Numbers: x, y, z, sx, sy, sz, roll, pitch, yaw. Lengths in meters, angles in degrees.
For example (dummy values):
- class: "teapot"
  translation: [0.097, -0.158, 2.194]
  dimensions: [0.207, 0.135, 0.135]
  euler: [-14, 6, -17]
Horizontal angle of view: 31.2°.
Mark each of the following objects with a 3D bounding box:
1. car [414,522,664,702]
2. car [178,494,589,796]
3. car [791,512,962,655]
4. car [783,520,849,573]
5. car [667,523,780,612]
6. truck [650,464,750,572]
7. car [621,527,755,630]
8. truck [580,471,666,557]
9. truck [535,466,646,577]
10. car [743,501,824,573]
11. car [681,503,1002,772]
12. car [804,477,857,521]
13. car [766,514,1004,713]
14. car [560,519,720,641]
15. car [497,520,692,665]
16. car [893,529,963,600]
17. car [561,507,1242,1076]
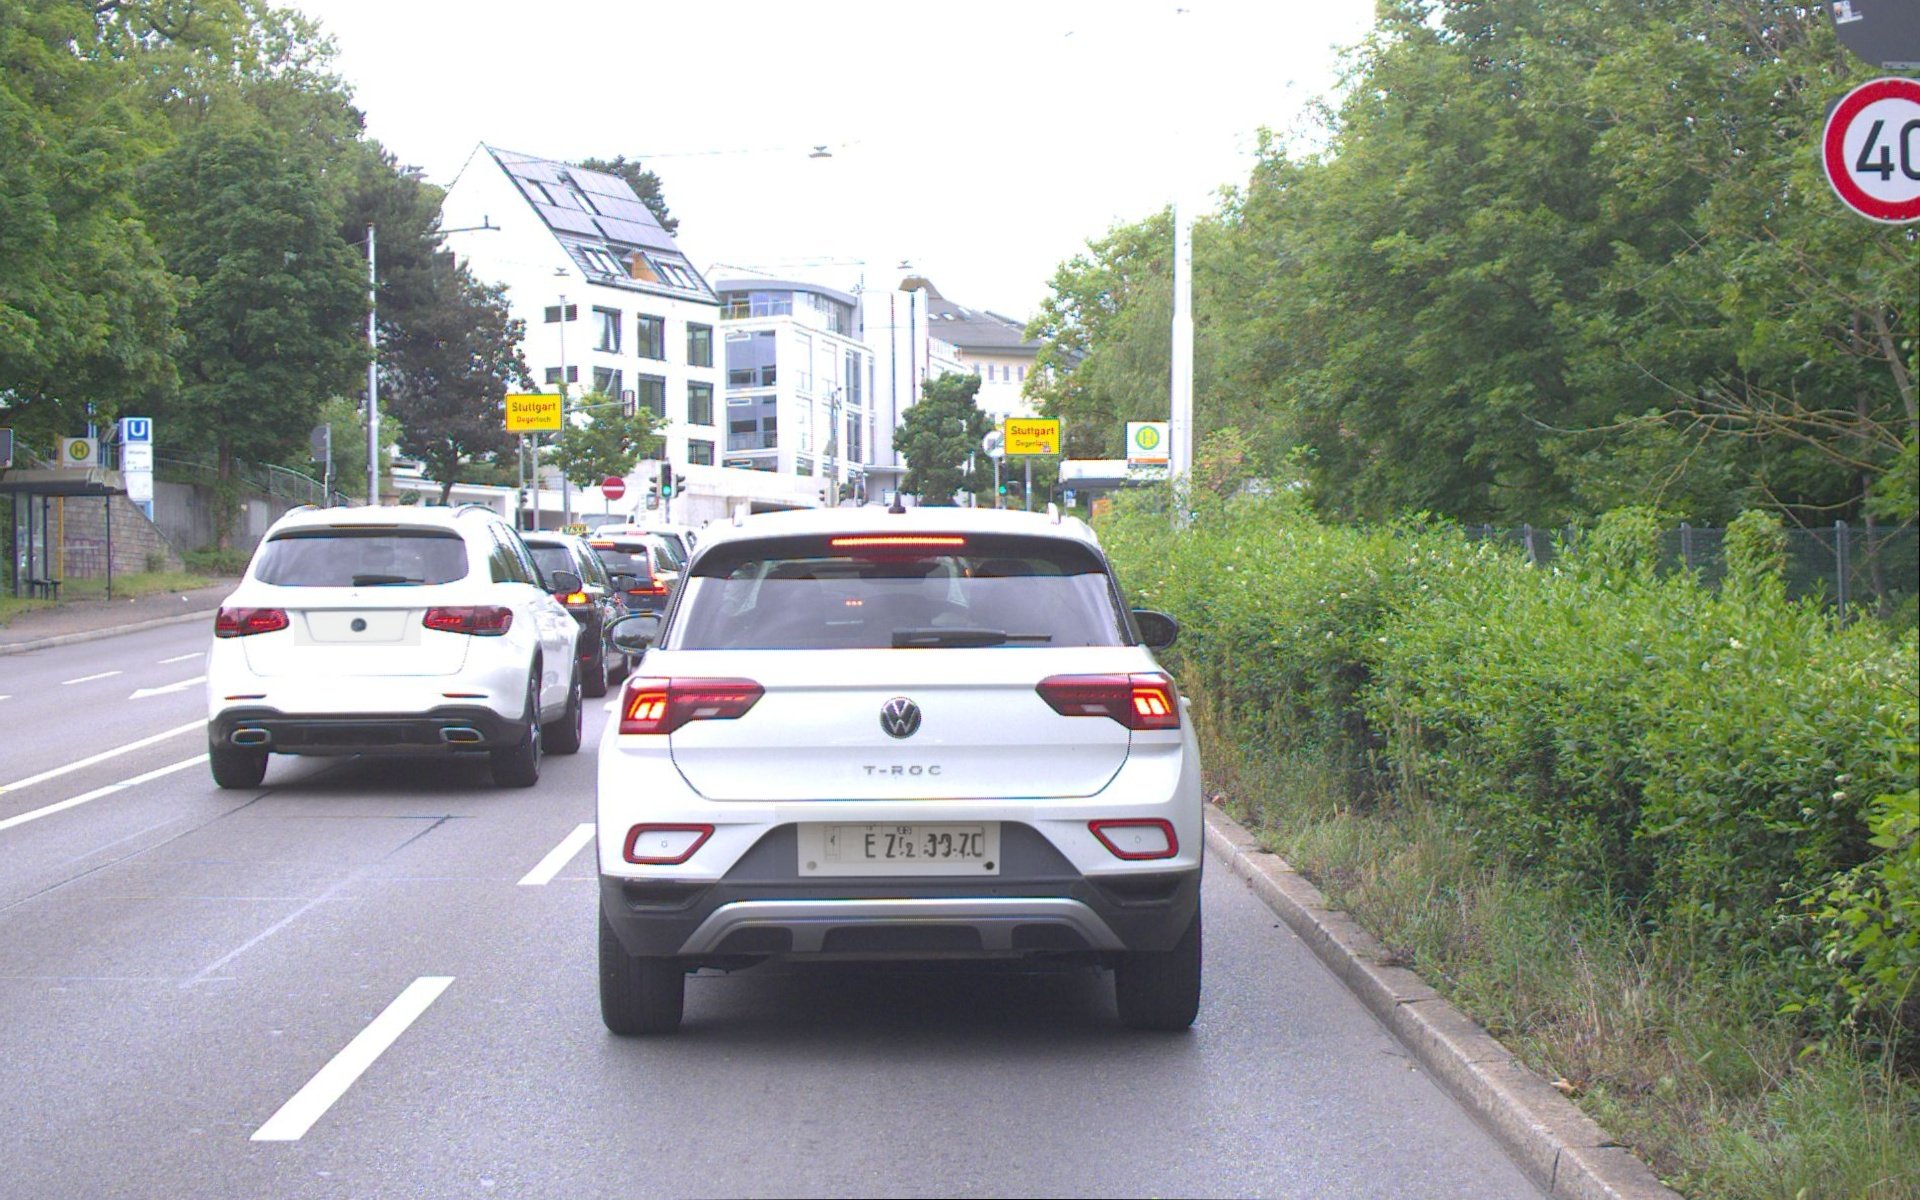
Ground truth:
- class: "car"
  translation: [-3.749, 0.060, 31.200]
  dimensions: [1.829, 1.492, 4.000]
  euler: [-1, 1, -1]
- class: "car"
  translation: [-3.399, 0.209, 20.977]
  dimensions: [1.918, 1.664, 4.000]
  euler: [0, 1, -1]
- class: "car"
  translation: [-0.952, -0.223, 39.357]
  dimensions: [1.829, 1.520, 4.000]
  euler: [-1, 1, -1]
- class: "car"
  translation: [-4.267, -1.597, 102.216]
  dimensions: [1.829, 1.520, 4.000]
  euler: [-1, 1, -1]
- class: "car"
  translation: [-4.262, -0.620, 62.330]
  dimensions: [1.829, 1.520, 4.000]
  euler: [-1, 1, -1]
- class: "truck"
  translation: [-6.972, -2.208, 92.747]
  dimensions: [2.362, 2.772, 4.478]
  euler: [-2, 1, -1]
- class: "car"
  translation: [-4.230, -0.363, 53.957]
  dimensions: [1.829, 1.520, 4.000]
  euler: [-1, 1, -1]
- class: "truck"
  translation: [-12.498, -3.188, 128.091]
  dimensions: [2.293, 3.040, 6.979]
  euler: [-2, 1, 1]
- class: "truck"
  translation: [-9.408, -2.007, 87.920]
  dimensions: [2.362, 2.697, 4.478]
  euler: [-2, 1, -1]
- class: "car"
  translation: [-4.321, -1.561, 84.492]
  dimensions: [1.815, 1.651, 3.929]
  euler: [-2, 1, -1]
- class: "car"
  translation: [-0.733, 0.173, 21.942]
  dimensions: [1.829, 1.520, 4.000]
  euler: [-1, 1, -1]
- class: "car"
  translation: [-4.667, -3.618, 124.109]
  dimensions: [1.829, 1.520, 4.000]
  euler: [-1, 1, -1]
- class: "car"
  translation: [-0.632, 0.062, 28.992]
  dimensions: [1.829, 1.520, 4.000]
  euler: [-1, 1, -1]
- class: "car"
  translation: [-4.243, -0.302, 46.140]
  dimensions: [1.829, 1.520, 4.000]
  euler: [-1, 1, -1]
- class: "car"
  translation: [-4.081, -0.123, 38.893]
  dimensions: [1.829, 1.520, 4.000]
  euler: [-1, 1, -1]
- class: "car"
  translation: [-0.955, -1.088, 102.624]
  dimensions: [1.993, 2.007, 4.000]
  euler: [-2, 1, -1]
- class: "car"
  translation: [-0.200, 0.477, 11.317]
  dimensions: [1.829, 1.520, 4.000]
  euler: [-1, 1, -1]
